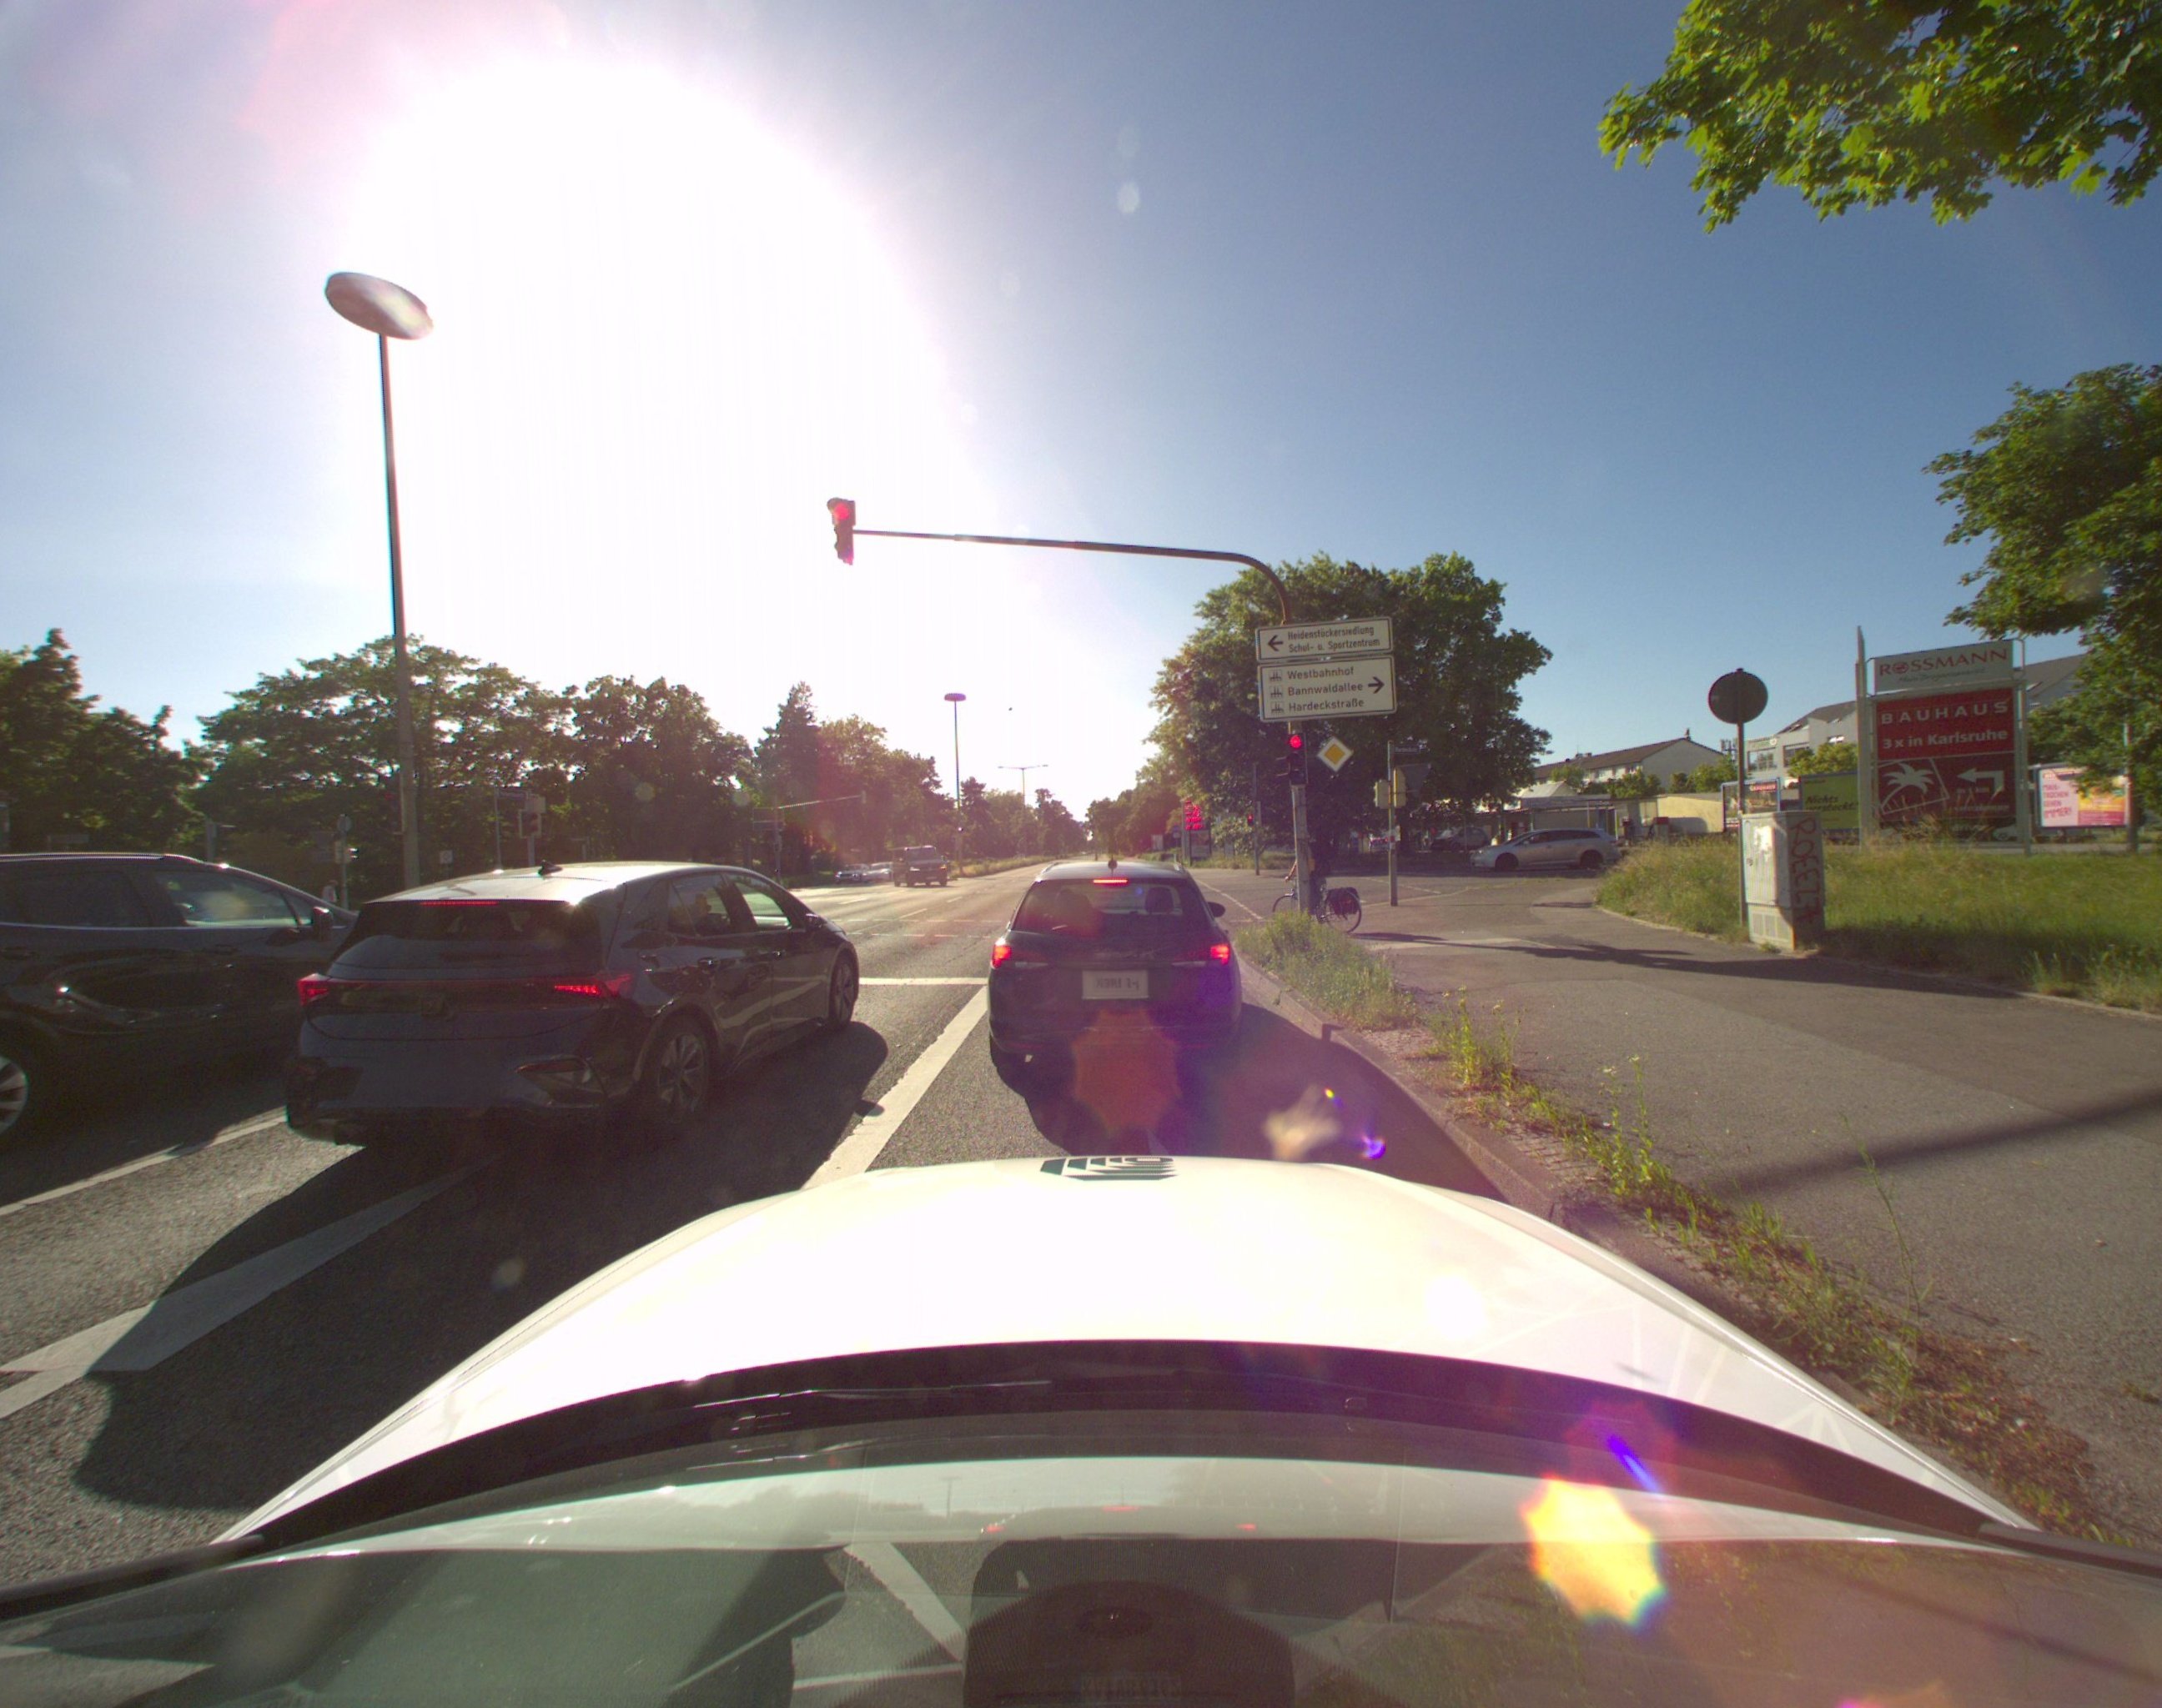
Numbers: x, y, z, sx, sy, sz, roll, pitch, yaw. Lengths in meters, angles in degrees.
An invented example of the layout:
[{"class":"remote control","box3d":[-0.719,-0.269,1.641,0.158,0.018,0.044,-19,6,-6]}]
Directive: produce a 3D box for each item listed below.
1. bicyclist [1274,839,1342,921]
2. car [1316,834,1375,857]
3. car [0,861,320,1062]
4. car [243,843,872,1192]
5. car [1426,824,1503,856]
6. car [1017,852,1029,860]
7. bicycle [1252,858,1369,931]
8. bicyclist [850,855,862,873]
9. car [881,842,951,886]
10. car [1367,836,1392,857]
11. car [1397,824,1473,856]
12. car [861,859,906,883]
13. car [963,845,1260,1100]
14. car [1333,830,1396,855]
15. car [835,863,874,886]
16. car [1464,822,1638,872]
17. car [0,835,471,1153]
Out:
[{"class":"bicyclist","box3d":[3.717,0.436,13.374,0.541,1.277,0.819,-3,-2,-42]},{"class":"car","box3d":[19.330,-0.616,59.522,3.903,1.517,1.733,-3,0,-21]},{"class":"car","box3d":[-10.225,0.980,7.920,1.824,1.702,3.999,-3,0,0]},{"class":"car","box3d":[-2.961,0.765,5.854,1.678,1.580,4.208,-1,0,2]},{"class":"car","box3d":[22.379,-0.815,47.523,4.002,1.680,1.733,-3,0,-21]},{"class":"car","box3d":[-11.337,0.350,159.322,1.769,1.463,4.166,-3,0,2]},{"class":"bicycle","box3d":[3.731,0.682,13.370,0.541,1.097,1.755,-3,-2,-42]},{"class":"bicyclist","box3d":[-22.375,0.980,80.951,0.874,1.648,1.198,-3,0,-4]},{"class":"car","box3d":[-8.292,0.528,40.570,1.923,1.992,4.968,-3,0,-29]},{"class":"car","box3d":[25.401,-0.658,69.345,1.726,1.680,4.018,-3,0,17]},{"class":"car","box3d":[21.474,-0.857,49.401,4.003,1.750,1.985,-2,0,-22]},{"class":"car","box3d":[-13.991,1.161,57.903,1.881,1.524,4.506,-3,0,2]},{"class":"car","box3d":[0.248,0.719,6.963,1.750,1.495,4.208,-1,0,2]},{"class":"car","box3d":[19.665,-0.823,56.430,3.903,1.517,1.733,-3,0,-21]},{"class":"car","box3d":[-17.184,1.518,61.899,1.680,1.509,4.005,-3,0,2]},{"class":"car","box3d":[16.532,-0.237,28.933,4.969,1.486,2.007,-2,0,13]},{"class":"car","box3d":[-6.621,0.780,5.518,1.798,1.689,4.002,-3,0,2]}]
